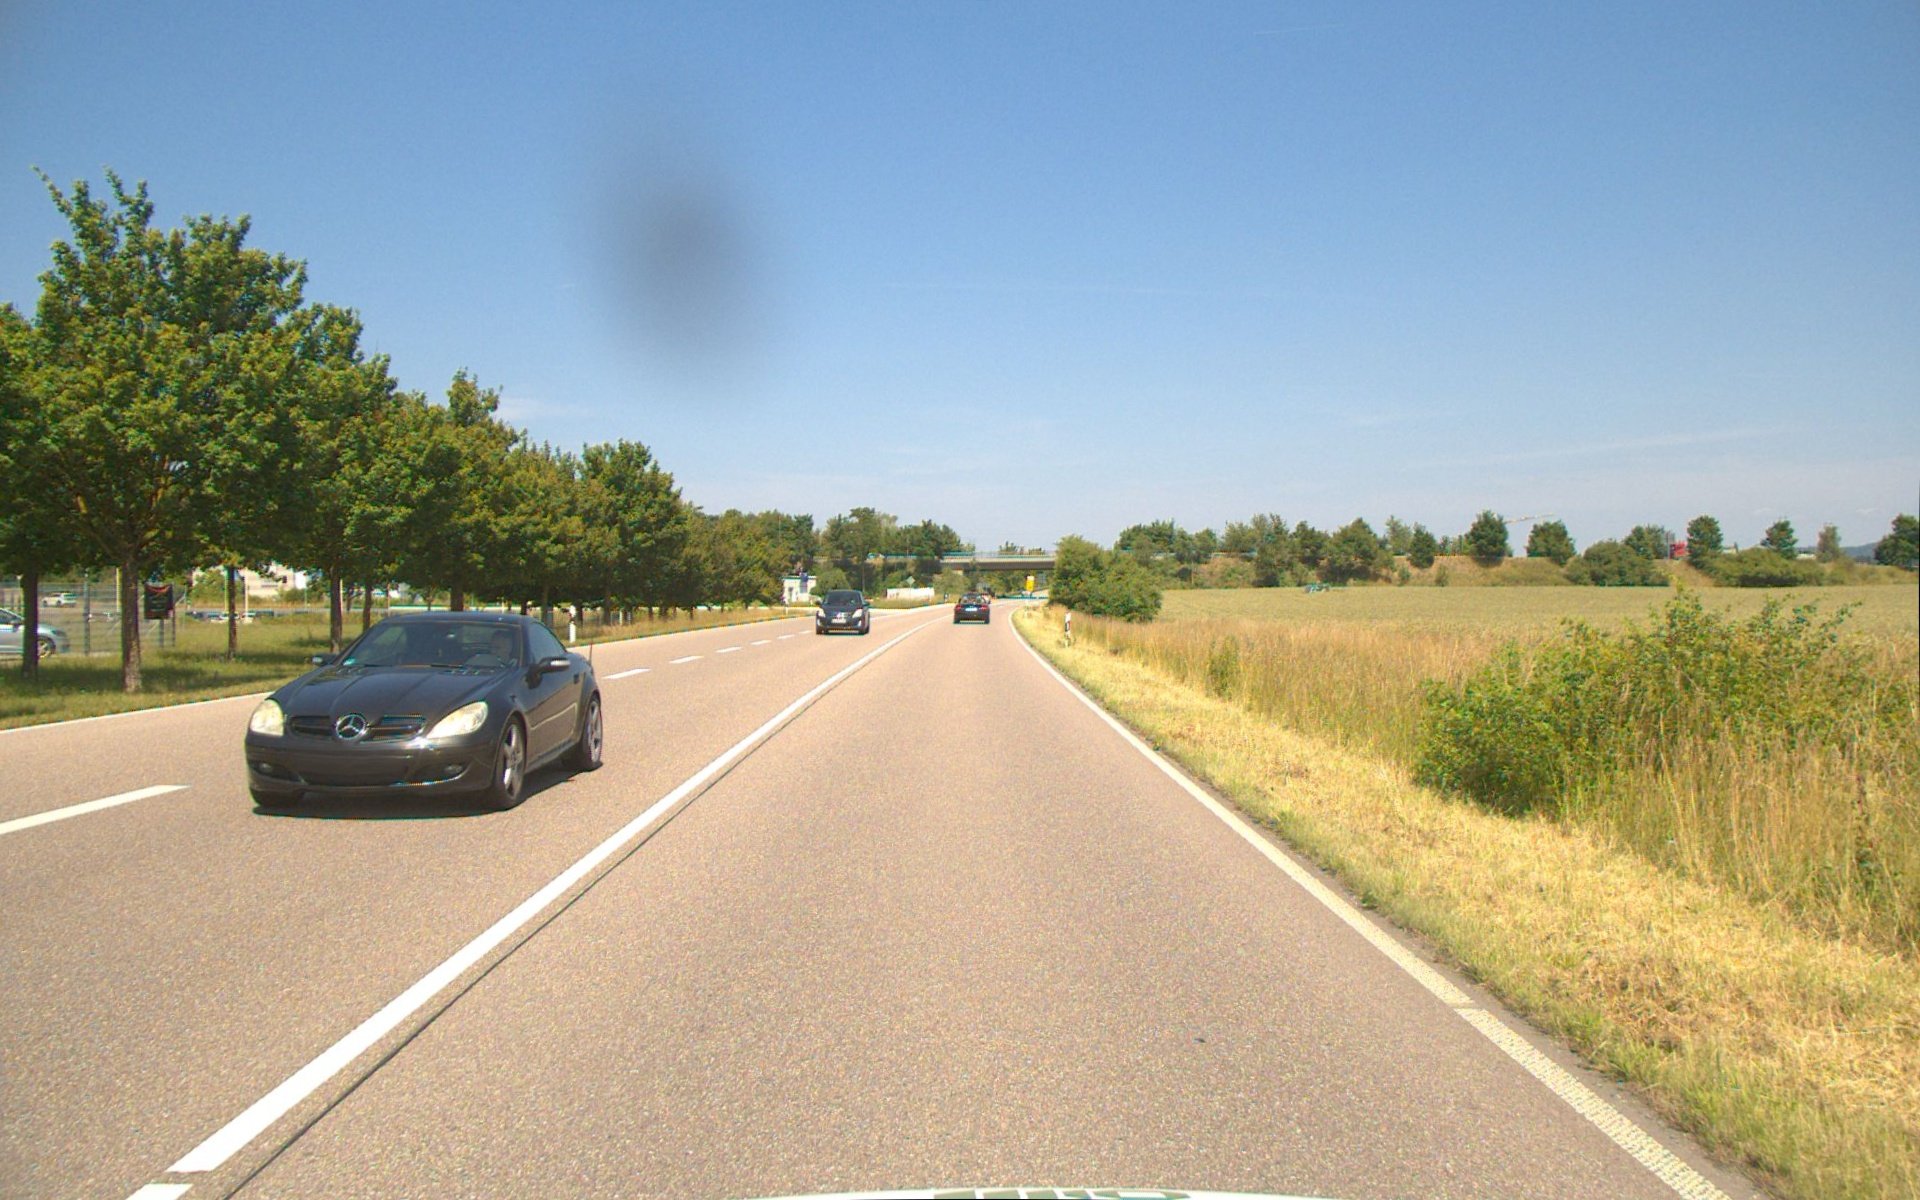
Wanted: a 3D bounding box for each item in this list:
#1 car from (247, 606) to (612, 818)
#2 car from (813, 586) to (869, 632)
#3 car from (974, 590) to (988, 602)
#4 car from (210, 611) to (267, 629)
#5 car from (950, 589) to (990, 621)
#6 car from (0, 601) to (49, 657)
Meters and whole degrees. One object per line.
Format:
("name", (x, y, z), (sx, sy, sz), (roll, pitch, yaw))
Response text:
("car", (-3.763, 0.717, 12.398), (1.603, 1.290, 3.810), (1, 0, -2))
("car", (-4.101, 0.300, 57.488), (1.645, 1.525, 3.886), (1, 0, 0))
("car", (2.697, -0.541, 211.192), (1.706, 1.436, 4.624), (1, 0, 0))
("car", (-59.713, 1.647, 136.886), (1.955, 1.418, 3.995), (-1, 0, 27))
("car", (0.465, 0.235, 80.185), (1.777, 1.466, 3.999), (1, 0, -2))
("car", (-28.275, 0.825, 46.693), (4.302, 1.570, 1.566), (0, 0, -40))
